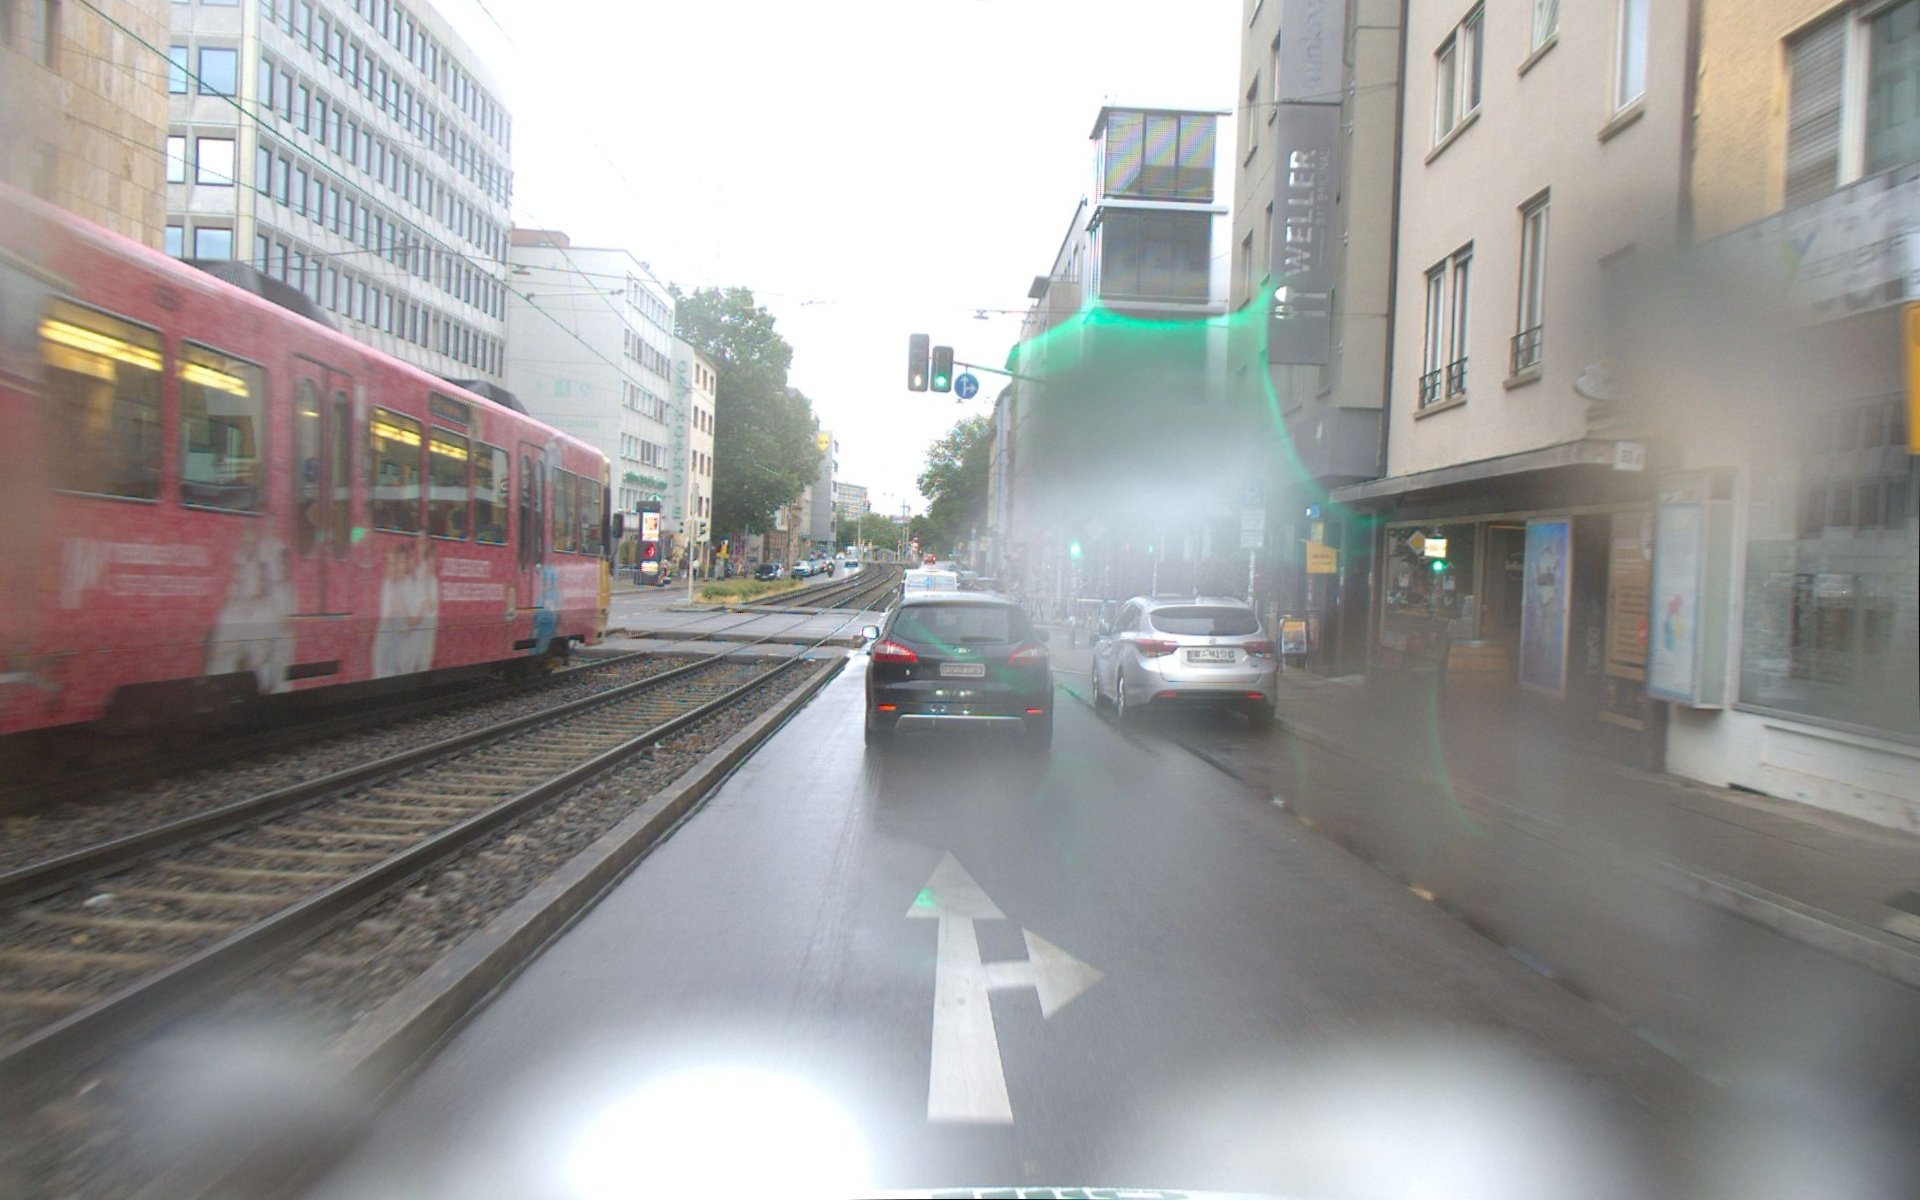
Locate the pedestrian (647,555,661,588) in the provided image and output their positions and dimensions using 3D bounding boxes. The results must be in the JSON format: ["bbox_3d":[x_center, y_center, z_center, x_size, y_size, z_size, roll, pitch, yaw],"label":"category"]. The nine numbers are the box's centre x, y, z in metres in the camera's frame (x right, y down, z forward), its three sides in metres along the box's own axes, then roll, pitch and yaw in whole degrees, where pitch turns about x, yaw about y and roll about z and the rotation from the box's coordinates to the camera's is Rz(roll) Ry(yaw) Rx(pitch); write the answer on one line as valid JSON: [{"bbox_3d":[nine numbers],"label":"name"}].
[{"bbox_3d":[-17.812,-1.668,96.345,0.713,1.928,0.688,1,1,-5],"label":"pedestrian"}]

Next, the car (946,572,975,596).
[{"bbox_3d":[0.003,-1.111,114.203,1.953,1.621,4.571,1,1,-1],"label":"car"}]

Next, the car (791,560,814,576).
[{"bbox_3d":[-16.068,-3.309,169.145,1.953,1.545,4.435,2,2,-1],"label":"car"}]

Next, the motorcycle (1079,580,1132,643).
[{"bbox_3d":[3.509,0.279,39.919,1.120,1.486,0.675,0,1,-38],"label":"motorcycle"}]

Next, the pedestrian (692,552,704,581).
[{"bbox_3d":[-17.565,-2.263,110.823,0.665,1.928,0.742,2,1,-1],"label":"pedestrian"}]

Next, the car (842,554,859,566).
[{"bbox_3d":[-15.078,-5.503,227.759,1.953,1.545,4.443,2,0,-1],"label":"car"}]

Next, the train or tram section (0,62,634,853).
[{"bbox_3d":[-6.596,-0.829,17.639,2.843,4.121,18.764,1,0,-1],"label":"train or tram section"}]

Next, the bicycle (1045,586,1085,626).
[{"bbox_3d":[3.573,0.200,56.457,0.491,1.280,1.941,1,1,-25],"label":"bicycle"}]

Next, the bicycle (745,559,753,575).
[{"bbox_3d":[-17.010,-2.649,133.175,0.580,1.248,2.400,2,1,-8],"label":"bicycle"}]

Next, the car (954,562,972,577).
[{"bbox_3d":[0.293,-3.249,177.195,1.703,1.514,4.000,1,2,-2],"label":"car"}]

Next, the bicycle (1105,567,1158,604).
[{"bbox_3d":[5.676,-0.481,54.867,0.572,1.177,1.931,1,1,-37],"label":"bicycle"}]

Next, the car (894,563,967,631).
[{"bbox_3d":[-0.797,-0.104,47.531,1.952,1.847,4.272,1,1,0],"label":"car"}]

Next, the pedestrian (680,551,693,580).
[{"bbox_3d":[-18.326,-2.294,110.912,0.712,1.928,0.983,2,1,-1],"label":"pedestrian"}]

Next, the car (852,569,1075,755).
[{"bbox_3d":[0.009,0.517,16.737,1.953,1.621,4.271,1,1,-1],"label":"car"}]

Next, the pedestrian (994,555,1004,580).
[{"bbox_3d":[3.218,-2.657,136.432,0.721,2.048,0.821,1,2,-2],"label":"pedestrian"}]

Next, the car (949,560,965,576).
[{"bbox_3d":[-0.366,-3.529,182.038,1.609,1.542,4.038,1,2,-2],"label":"car"}]

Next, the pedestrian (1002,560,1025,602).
[{"bbox_3d":[2.087,-0.737,64.439,0.650,1.610,0.774,0,1,-23],"label":"pedestrian"}]

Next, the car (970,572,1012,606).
[{"bbox_3d":[1.523,-0.568,82.603,1.953,1.621,4.271,1,1,-1],"label":"car"}]

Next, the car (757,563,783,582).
[{"bbox_3d":[-15.639,-2.253,136.068,1.708,1.494,4.219,0,2,-1],"label":"car"}]

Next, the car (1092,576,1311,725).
[{"bbox_3d":[2.845,0.526,20.537,1.983,1.621,4.620,1,1,-1],"label":"car"}]
